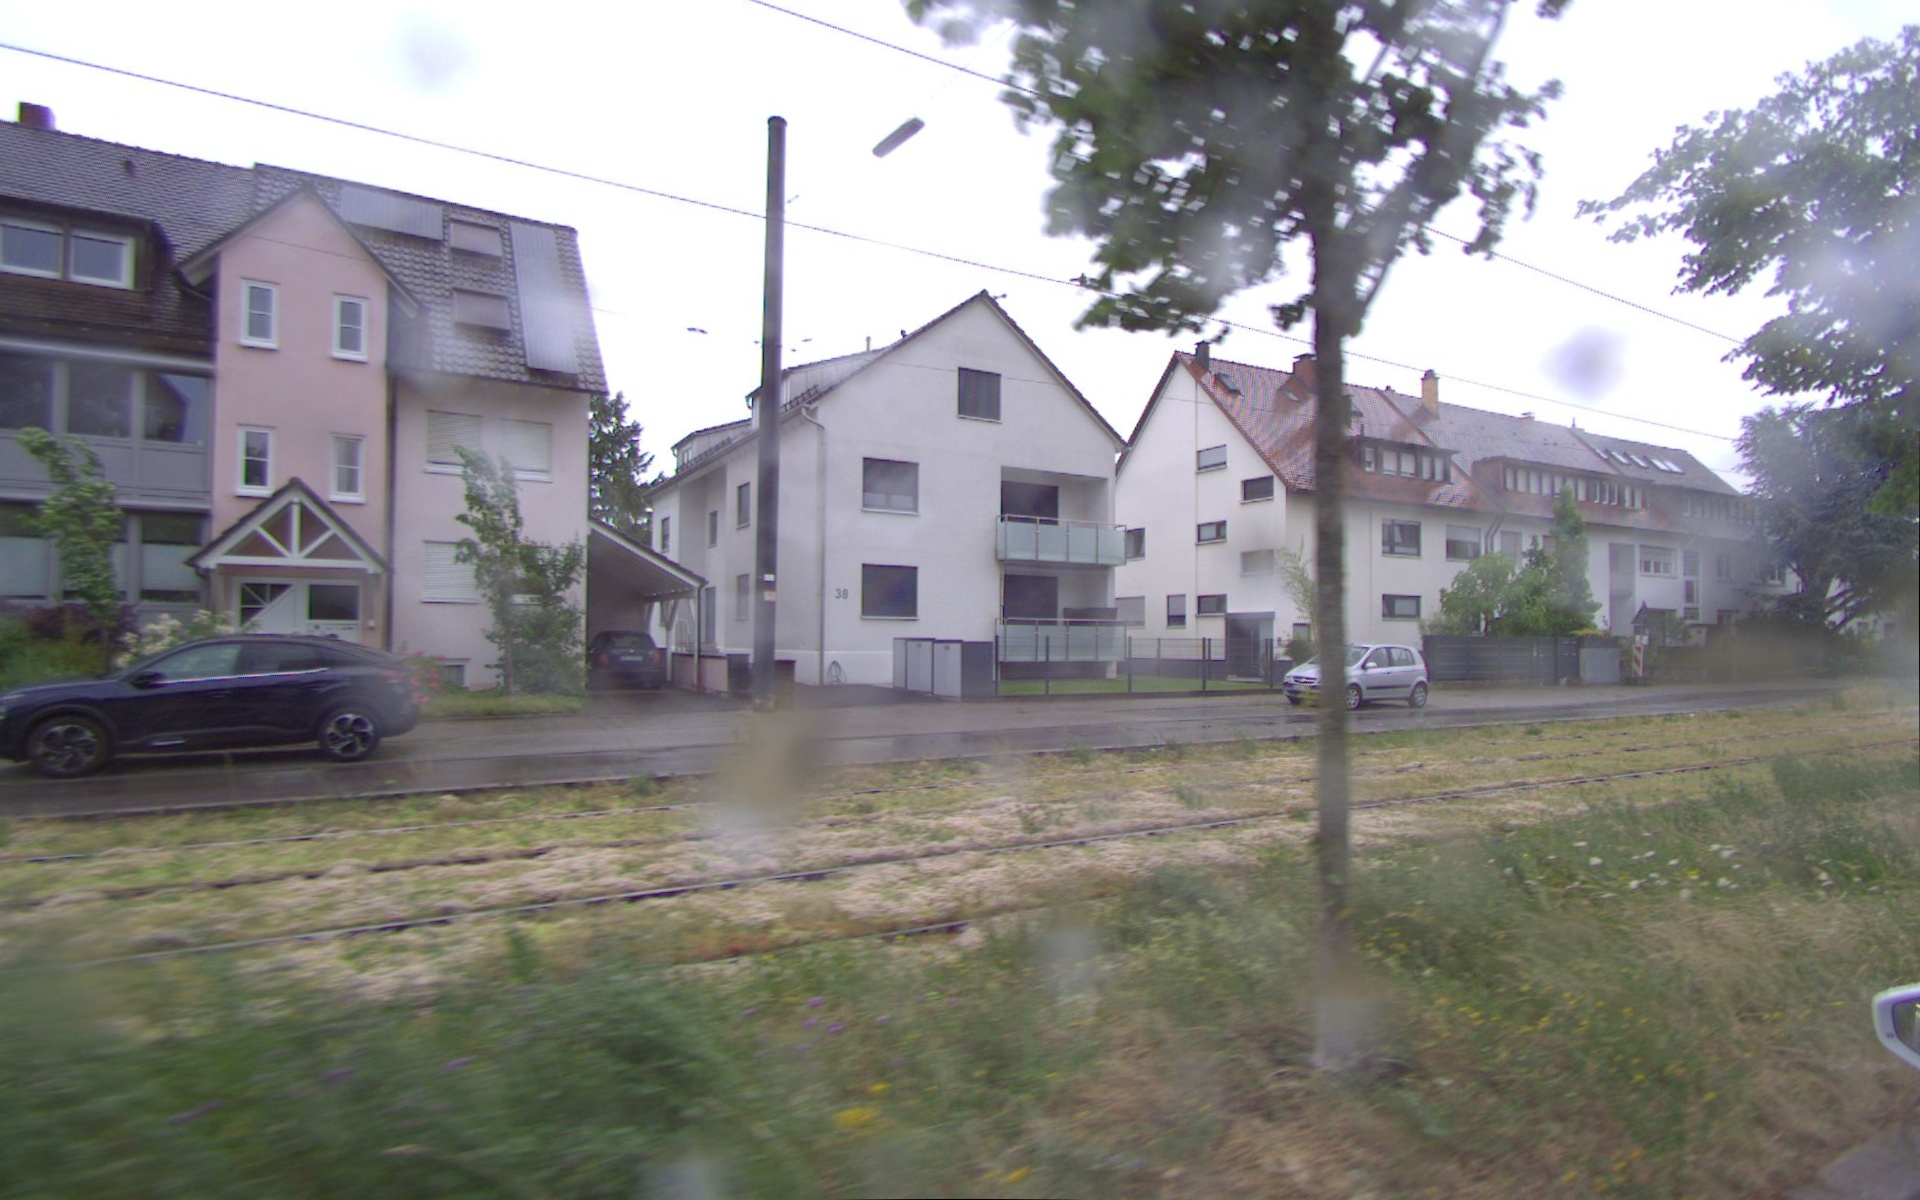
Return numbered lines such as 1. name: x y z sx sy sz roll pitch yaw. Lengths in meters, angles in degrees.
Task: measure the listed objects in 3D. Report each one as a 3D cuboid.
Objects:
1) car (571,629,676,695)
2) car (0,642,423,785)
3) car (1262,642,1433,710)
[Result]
1. car: -8.800 1.560 26.050 1.820 1.521 3.969 2 -2 -30
2. car: -9.035 1.275 12.422 4.127 1.445 1.827 1 -1 -32
3. car: 9.150 1.766 23.672 3.617 1.432 1.983 3 -2 -32
